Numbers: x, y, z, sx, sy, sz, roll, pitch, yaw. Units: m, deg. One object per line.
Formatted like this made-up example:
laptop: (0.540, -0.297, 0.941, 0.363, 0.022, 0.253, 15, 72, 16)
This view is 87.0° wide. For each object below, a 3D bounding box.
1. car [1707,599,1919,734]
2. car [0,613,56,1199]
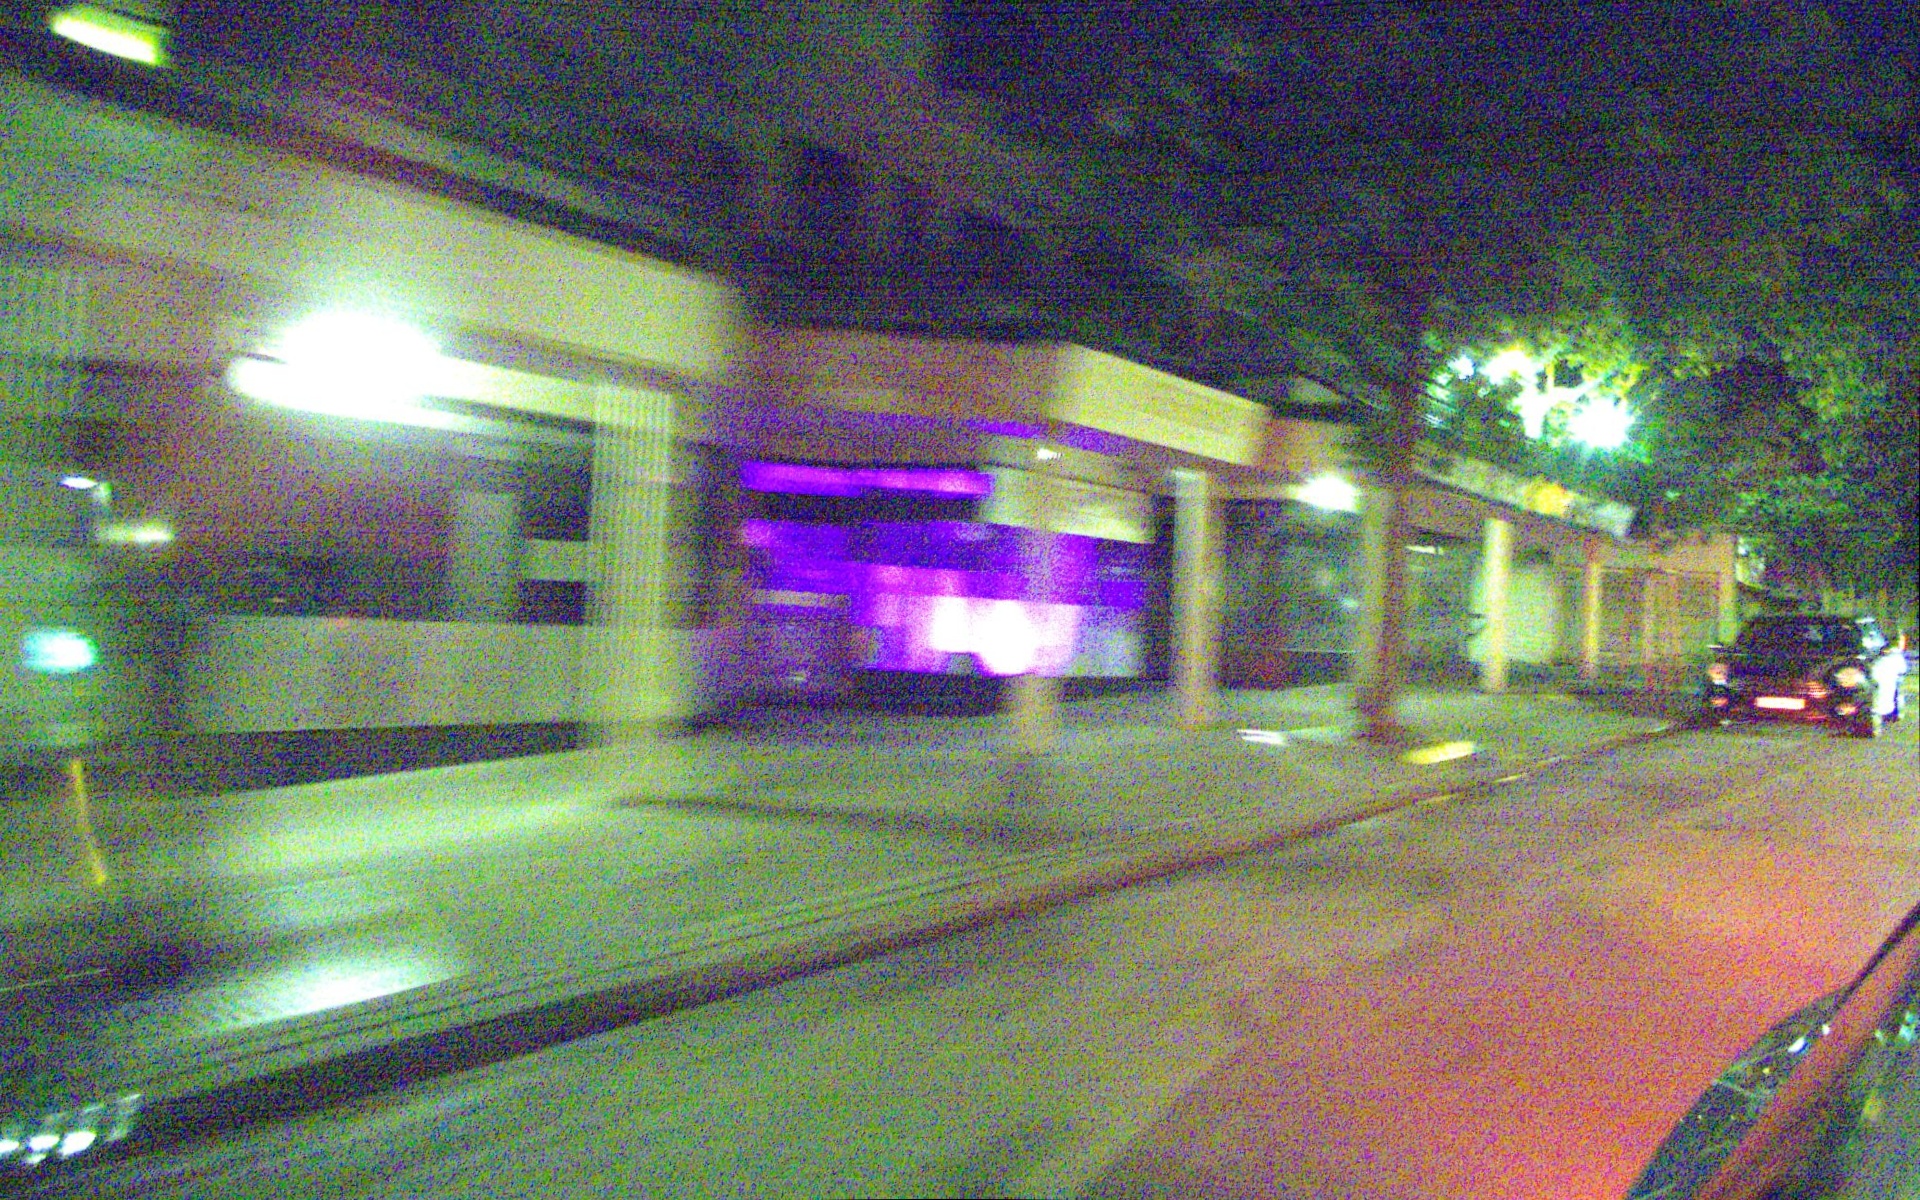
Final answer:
car: (10.998, 0.736, 12.954, 3.457, 1.492, 1.654, 0, 0, -42)
car: (-3.152, 0.740, 0.888, 3.456, 1.416, 1.602, 0, 0, -41)
